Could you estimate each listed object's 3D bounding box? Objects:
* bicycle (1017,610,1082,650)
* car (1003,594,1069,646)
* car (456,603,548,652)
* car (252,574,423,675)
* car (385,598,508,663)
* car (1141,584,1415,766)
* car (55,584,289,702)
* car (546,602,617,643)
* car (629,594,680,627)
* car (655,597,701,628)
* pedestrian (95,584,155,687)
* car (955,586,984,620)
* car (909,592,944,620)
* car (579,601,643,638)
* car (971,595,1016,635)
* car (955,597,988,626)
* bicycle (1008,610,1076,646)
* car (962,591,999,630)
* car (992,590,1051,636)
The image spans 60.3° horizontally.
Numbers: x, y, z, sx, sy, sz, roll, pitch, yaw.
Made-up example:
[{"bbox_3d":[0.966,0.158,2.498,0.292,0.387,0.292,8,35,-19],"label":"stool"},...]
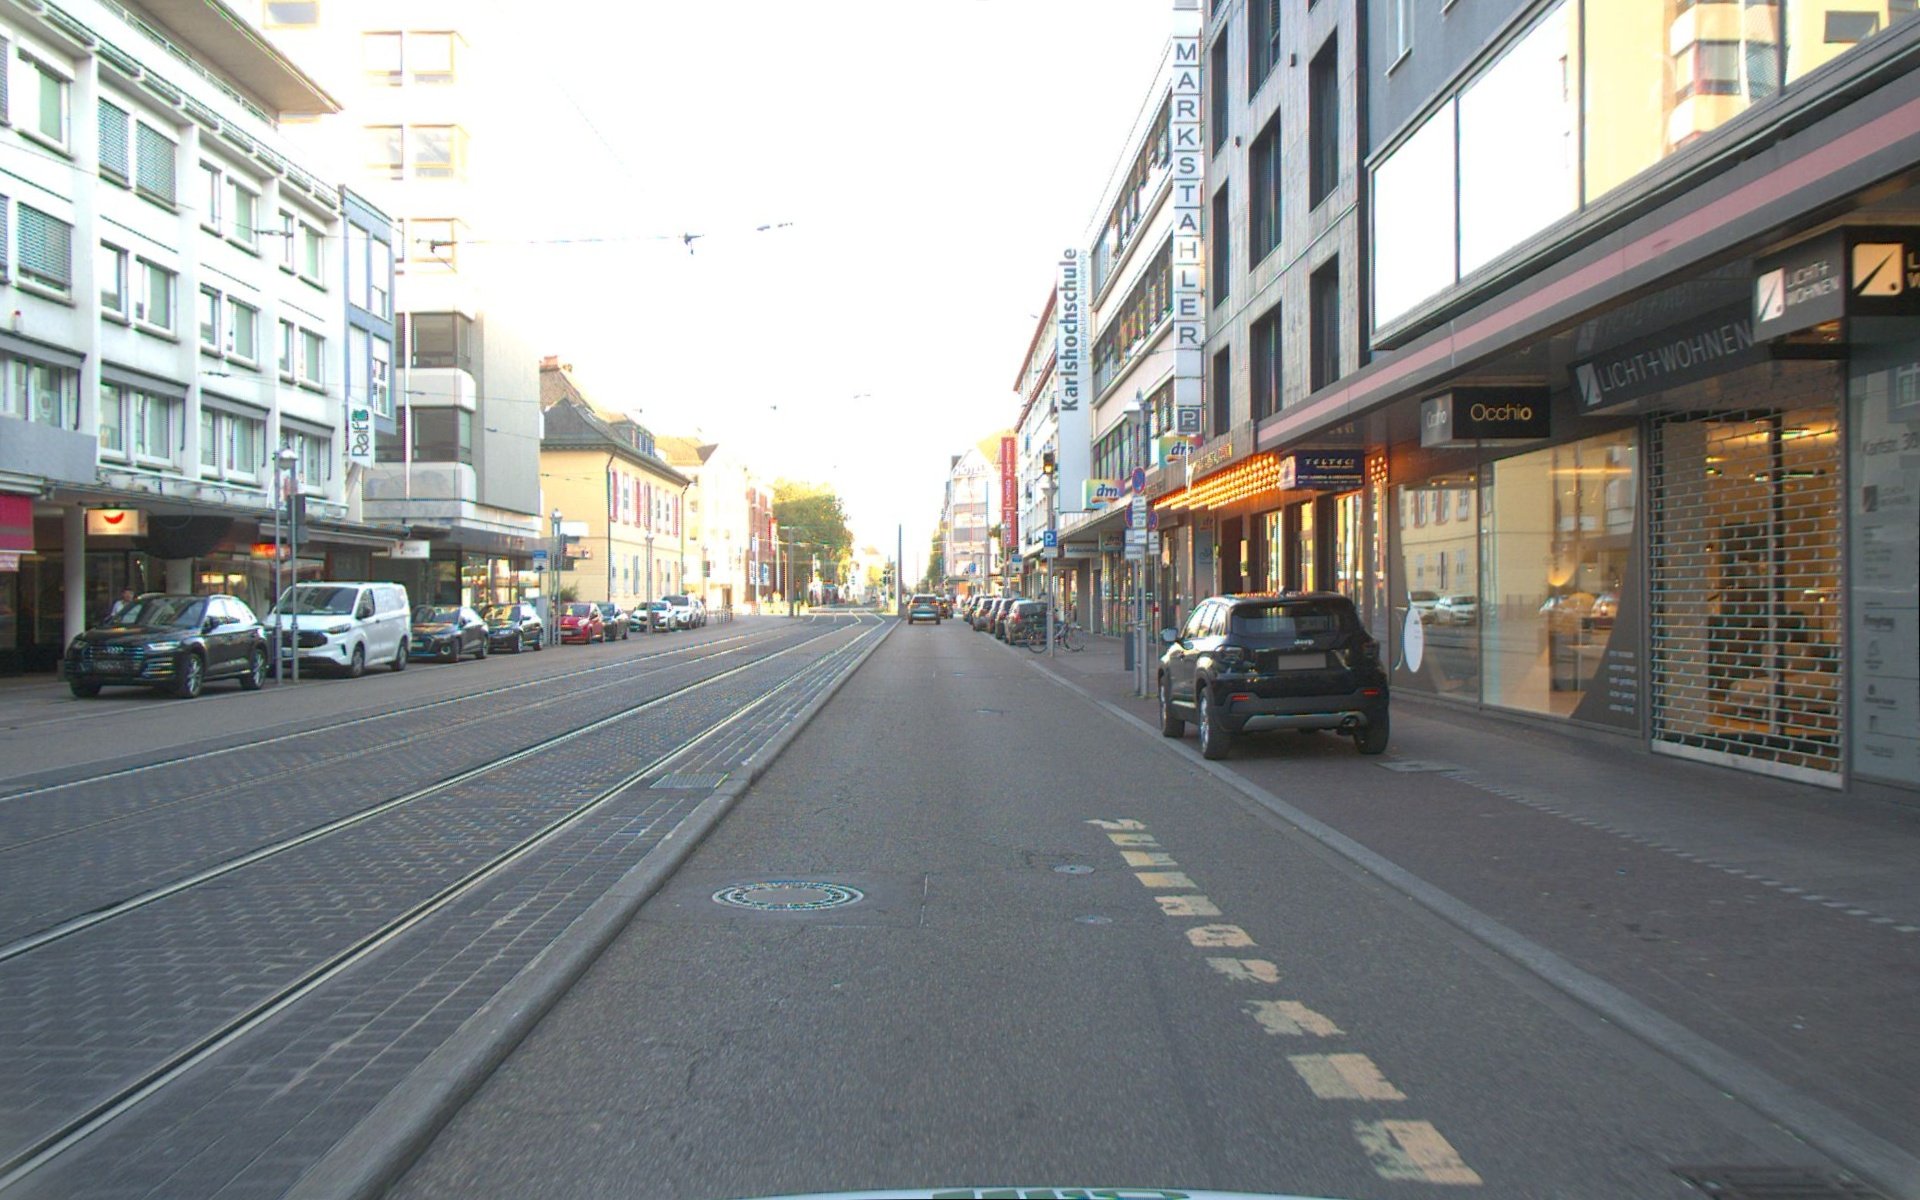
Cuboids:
[{"bbox_3d":[2.584,0.864,47.793,1.831,1.109,0.545,-1,0,-2],"label":"bicycle"},{"bbox_3d":[2.486,0.633,55.148,1.904,1.572,4.544,-2,0,-1],"label":"car"},{"bbox_3d":[-13.717,0.791,49.712,1.755,1.362,3.890,2,0,-2],"label":"car"},{"bbox_3d":[-13.355,0.494,35.838,1.878,1.969,4.841,2,0,-1],"label":"car"},{"bbox_3d":[-13.391,0.767,43.419,1.879,1.547,4.628,2,0,-2],"label":"car"},{"bbox_3d":[3.141,0.675,17.300,1.904,1.572,4.544,-2,0,-1],"label":"car"},{"bbox_3d":[-13.325,0.681,28.288,1.878,1.794,4.429,2,0,-1],"label":"car"},{"bbox_3d":[-13.644,0.785,59.848,1.755,1.362,3.890,2,0,-2],"label":"car"},{"bbox_3d":[-14.509,0.488,78.682,1.755,1.475,3.890,2,0,-2],"label":"car"},{"bbox_3d":[-14.317,0.627,84.247,1.755,1.475,3.890,2,0,-2],"label":"car"},{"bbox_3d":[-15.487,0.646,30.687,0.635,1.852,0.837,2,0,-1],"label":"pedestrian"},{"bbox_3d":[0.634,0.202,115.215,1.904,2.183,4.544,-2,0,-1],"label":"car"},{"bbox_3d":[-1.908,0.346,94.930,1.904,1.572,4.544,0,0,-1],"label":"car"},{"bbox_3d":[-13.685,0.751,65.025,1.755,1.362,3.890,2,0,-2],"label":"car"},{"bbox_3d":[1.519,0.674,76.738,1.904,1.733,4.544,-2,0,-1],"label":"car"},{"bbox_3d":[0.707,0.695,103.315,1.904,1.733,4.544,-2,0,-1],"label":"car"},{"bbox_3d":[2.549,0.866,51.544,2.077,1.109,0.591,-1,0,-4],"label":"bicycle"},{"bbox_3d":[1.113,0.562,91.676,1.904,1.999,4.544,-2,0,-1],"label":"car"},{"bbox_3d":[2.225,0.456,61.141,1.904,1.572,4.544,-2,0,-1],"label":"car"}]
